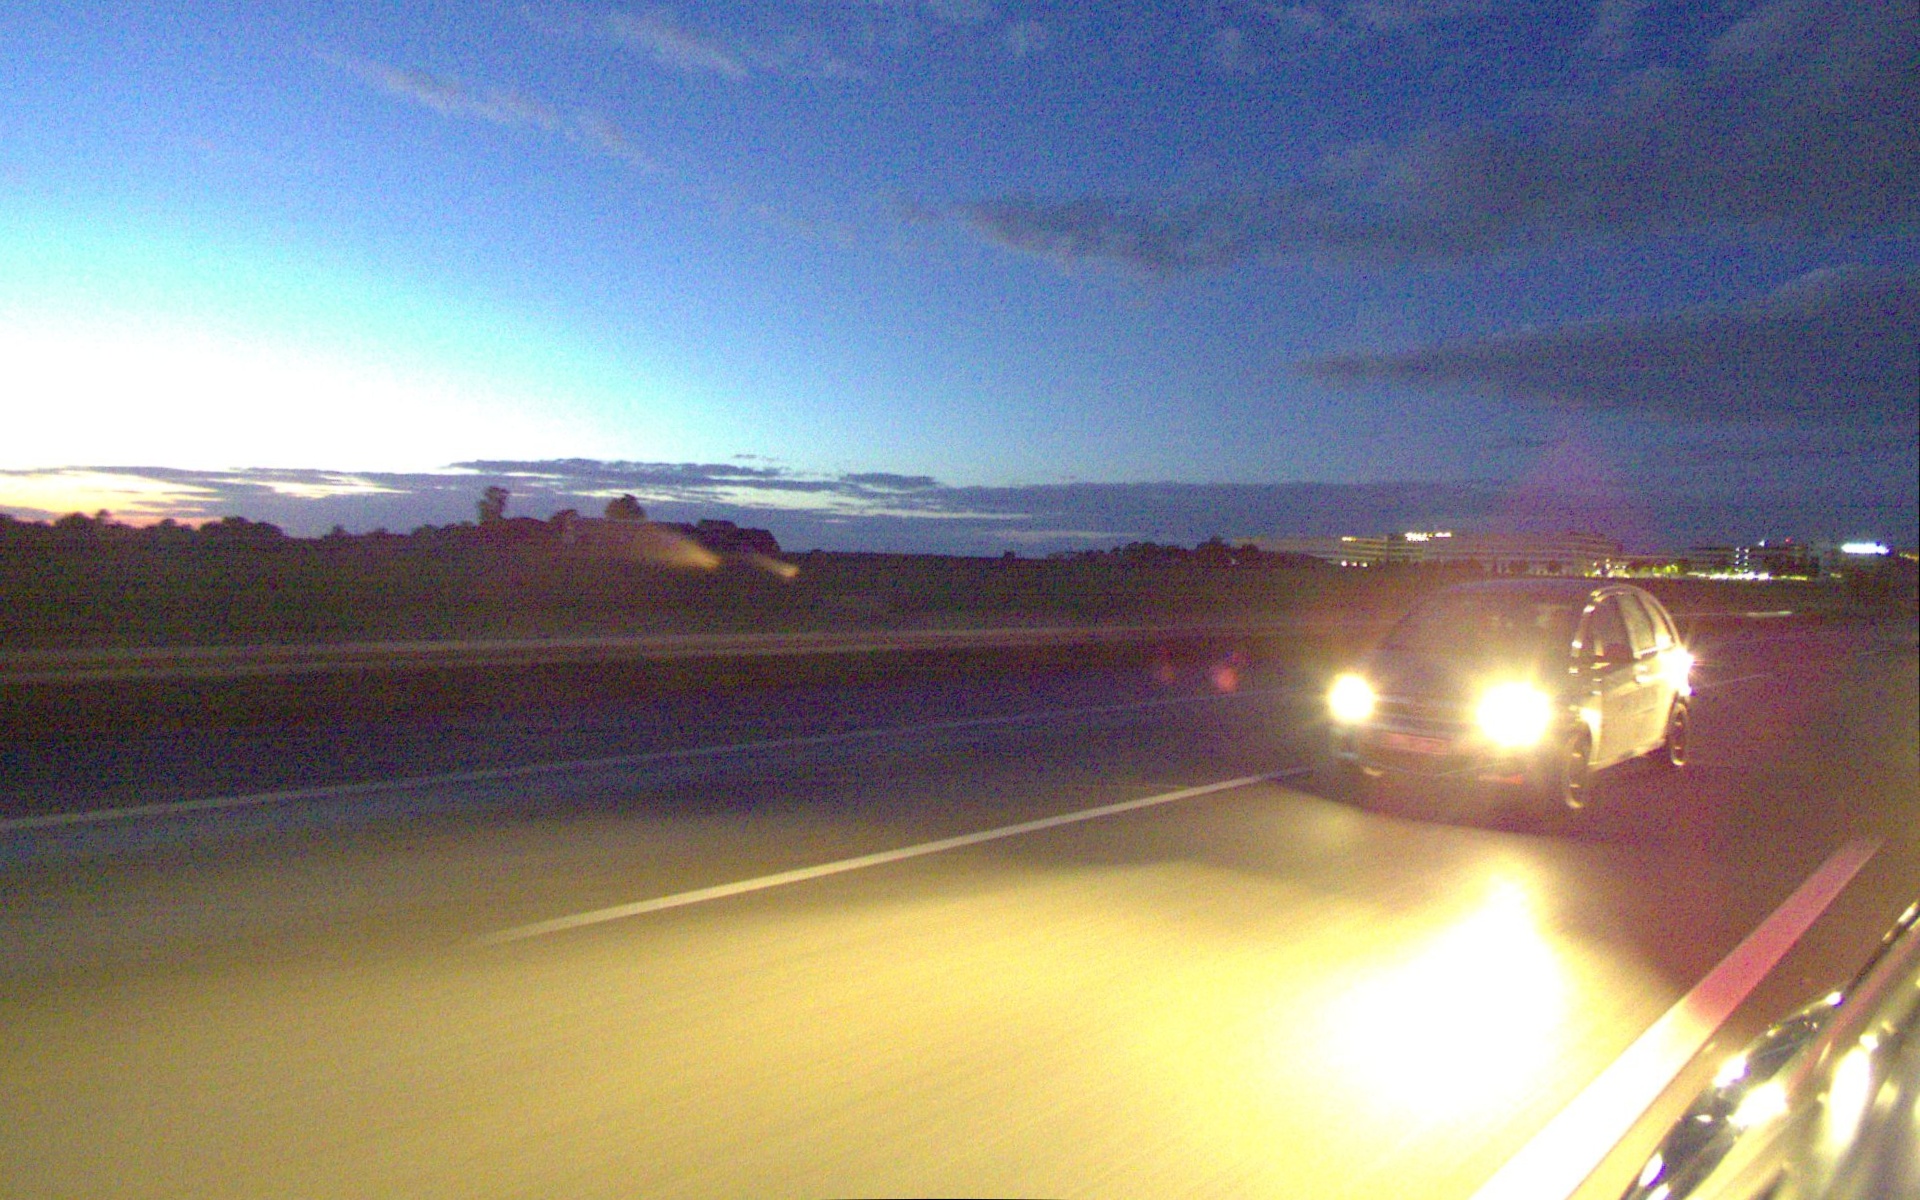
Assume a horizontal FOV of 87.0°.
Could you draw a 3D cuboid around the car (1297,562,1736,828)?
[{"bbox_3d":[4.694,0.555,8.224,4.430,1.616,1.649,0,2,-41],"label":"car"}]
